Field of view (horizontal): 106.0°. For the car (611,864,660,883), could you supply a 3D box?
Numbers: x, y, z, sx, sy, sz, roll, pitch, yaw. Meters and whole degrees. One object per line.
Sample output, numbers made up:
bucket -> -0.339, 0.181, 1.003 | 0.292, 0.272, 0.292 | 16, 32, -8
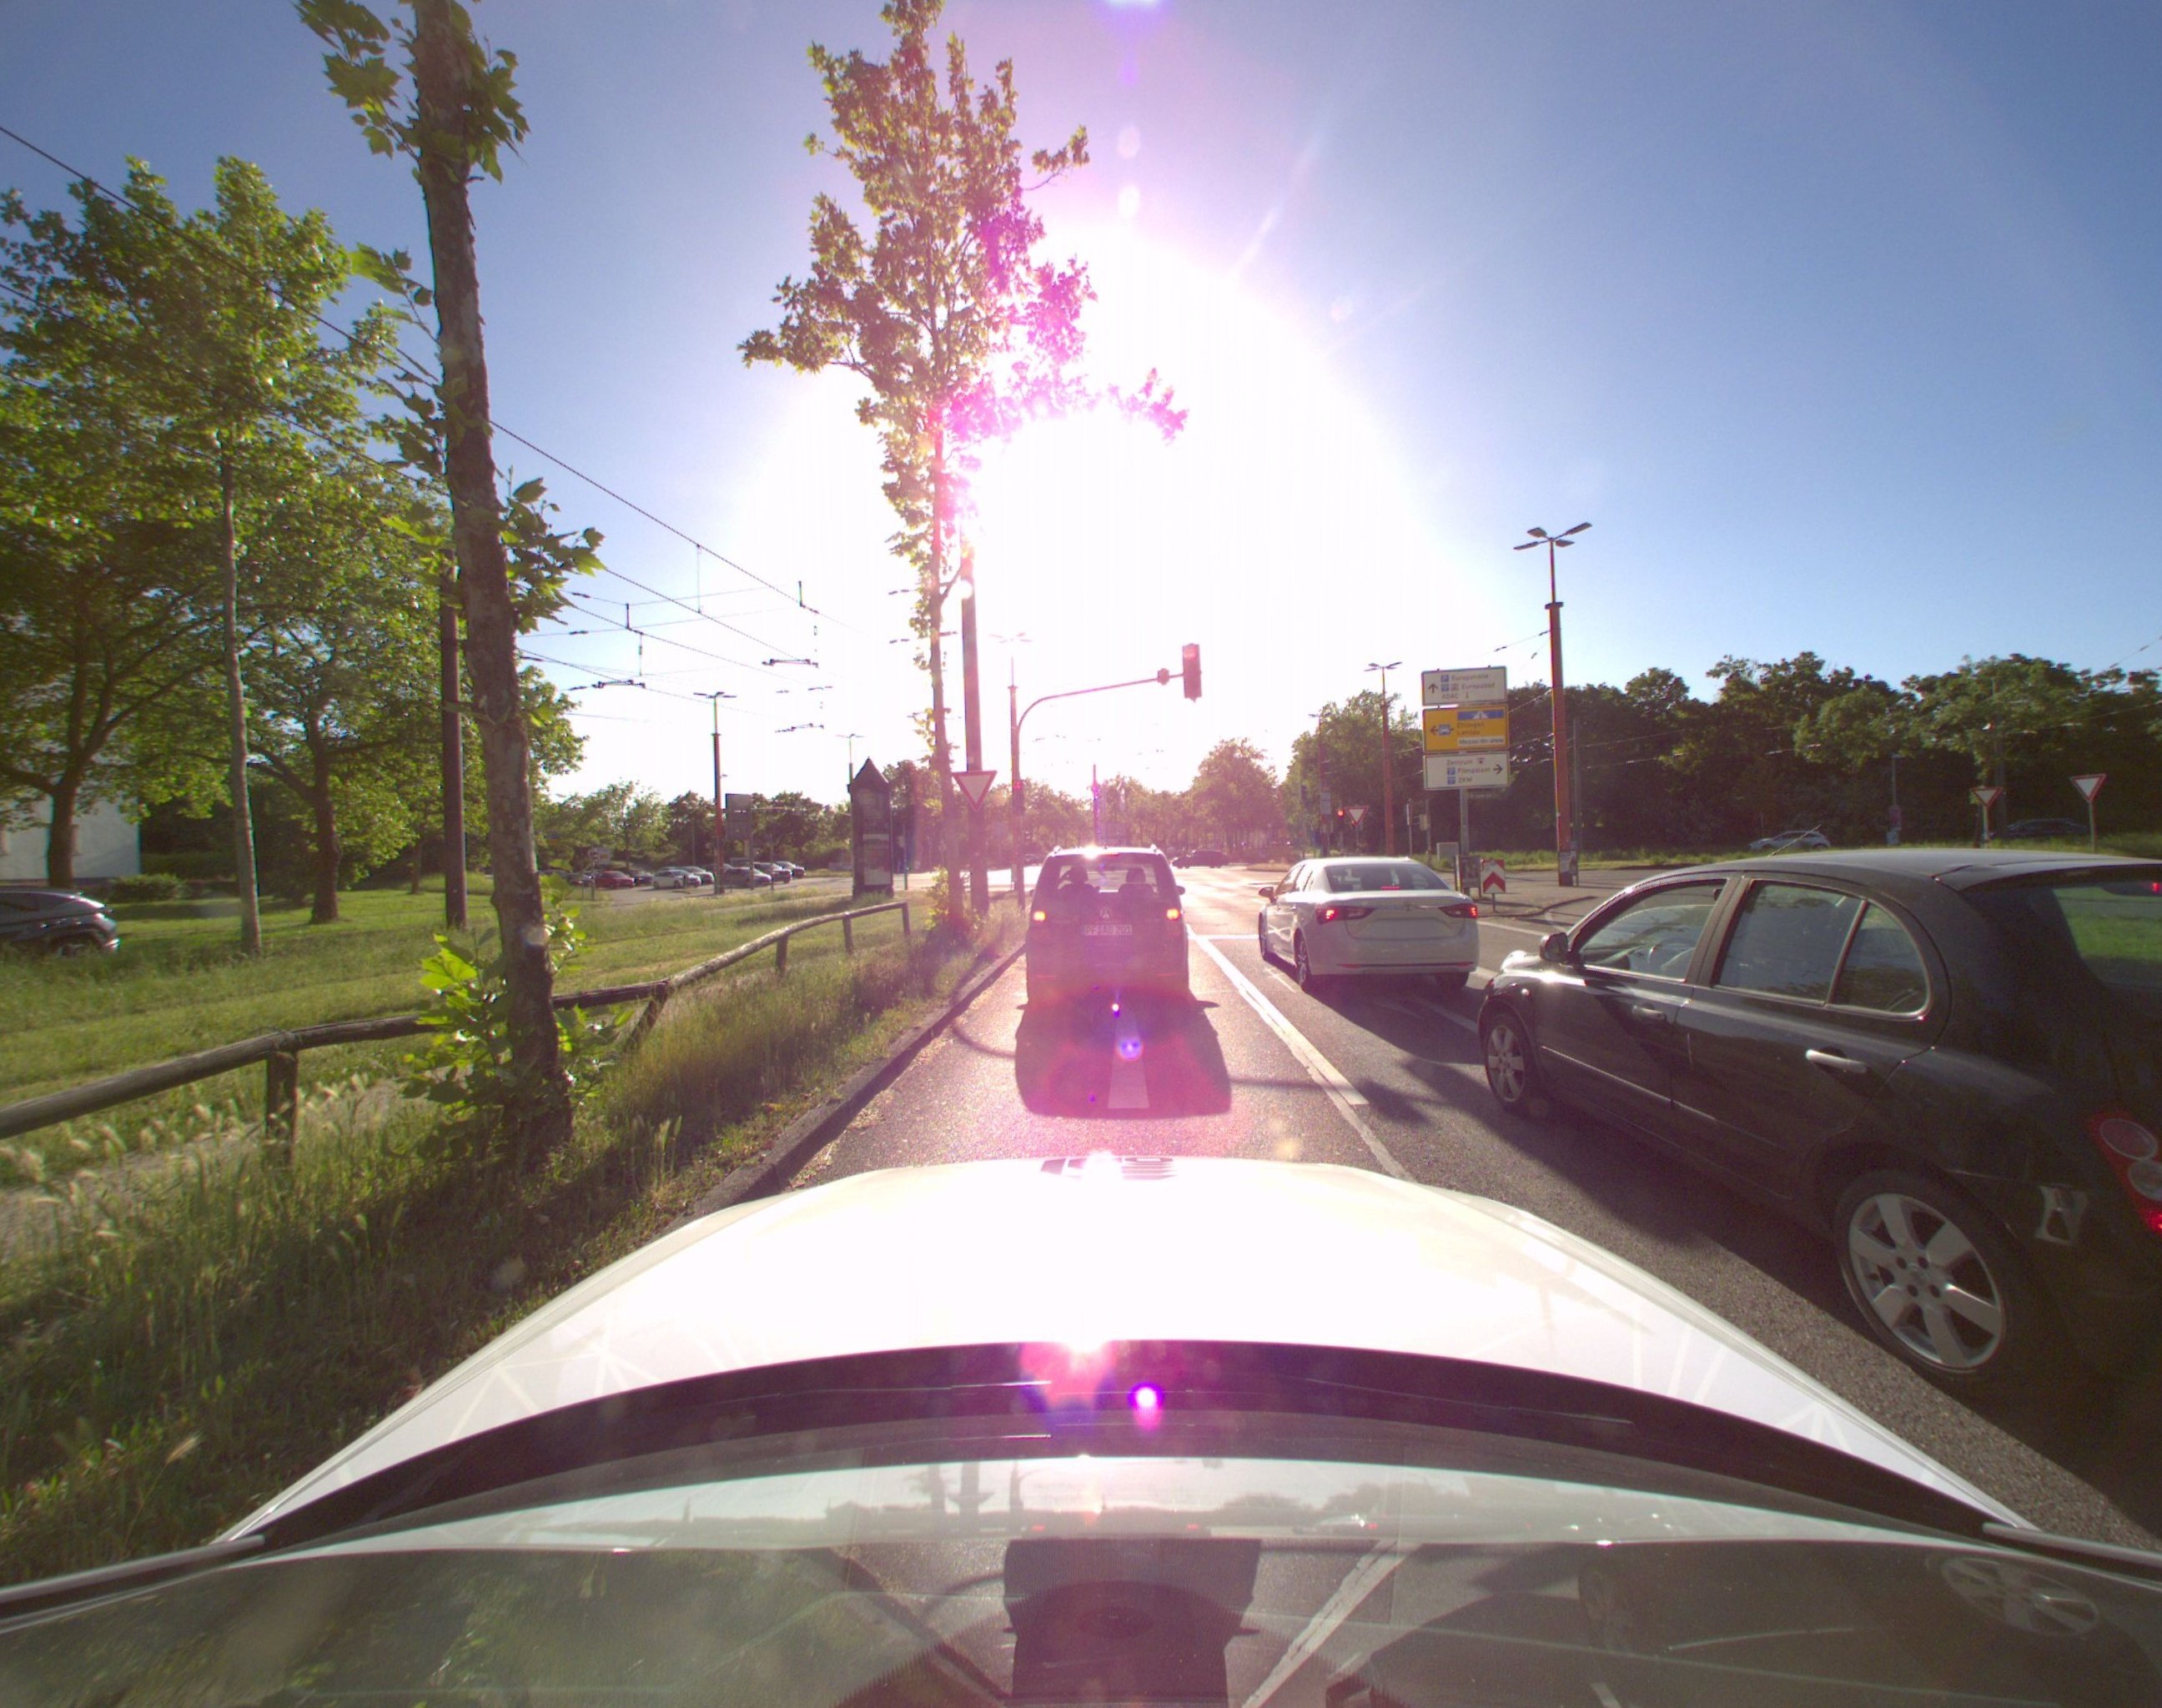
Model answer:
car -> -40.033, 1.720, 73.182 | 4.583, 1.647, 1.767 | -1, 0, 32

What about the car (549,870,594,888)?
car -> -44.961, 2.219, 71.839 | 4.145, 1.520, 1.667 | -1, 0, 32

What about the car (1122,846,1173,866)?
car -> 5.964, 0.178, 72.818 | 4.164, 1.681, 1.667 | -1, 0, 28

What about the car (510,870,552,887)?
car -> -51.057, 2.257, 75.545 | 4.145, 1.520, 1.667 | -1, 0, 32

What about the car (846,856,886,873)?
car -> -23.395, 1.147, 88.746 | 4.081, 1.750, 1.666 | -1, 0, 25

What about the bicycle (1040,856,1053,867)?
bicycle -> -4.631, 0.970, 109.645 | 0.969, 1.388, 2.991 | -2, 0, 15

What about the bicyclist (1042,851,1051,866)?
bicyclist -> -4.631, 0.596, 109.687 | 0.969, 1.904, 1.055 | -2, 0, 14

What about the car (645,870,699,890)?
car -> -32.430, 2.070, 64.597 | 4.577, 1.520, 1.667 | -1, 0, 32

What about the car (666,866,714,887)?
car -> -33.130, 1.882, 68.955 | 4.285, 1.692, 1.667 | -1, 0, 34

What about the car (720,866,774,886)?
car -> -24.636, 1.620, 60.055 | 3.793, 1.441, 1.667 | -1, 0, 29

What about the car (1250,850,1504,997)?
car -> 3.364, 0.708, 10.198 | 1.792, 1.440, 4.329 | 0, 0, 3

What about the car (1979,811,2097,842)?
car -> 51.363, -1.437, 43.826 | 3.755, 1.510, 1.667 | -1, 0, 30

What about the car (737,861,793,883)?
car -> -24.989, 1.439, 64.427 | 4.583, 1.647, 1.667 | -1, 0, 32

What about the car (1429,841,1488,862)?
car -> 27.958, -0.190, 60.318 | 3.878, 1.457, 1.666 | -1, 0, 25

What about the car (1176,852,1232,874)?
car -> 9.991, 0.717, 66.318 | 4.165, 1.681, 1.666 | -1, 0, 25

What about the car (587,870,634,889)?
car -> -39.446, 2.151, 68.264 | 4.145, 1.520, 1.667 | -1, 0, 32

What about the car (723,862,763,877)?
car -> -38.275, 1.716, 92.239 | 4.616, 1.625, 1.667 | -1, 0, 28

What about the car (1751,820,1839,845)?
car -> 44.835, -1.337, 51.243 | 3.877, 1.457, 1.667 | -1, 0, 28

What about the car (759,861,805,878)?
car -> -26.734, 1.382, 72.824 | 4.102, 1.415, 1.553 | -1, 0, 28

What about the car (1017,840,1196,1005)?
car -> 0.357, 0.688, 10.094 | 1.731, 1.602, 4.329 | 0, -1, 3

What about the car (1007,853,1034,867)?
car -> -7.652, 0.724, 103.636 | 1.636, 1.750, 4.156 | -1, 0, 25

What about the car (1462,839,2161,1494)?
car -> 3.170, 0.694, 3.500 | 1.570, 1.440, 3.443 | 0, -1, 2

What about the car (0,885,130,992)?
car -> -18.024, 1.393, 12.517 | 1.645, 1.618, 4.297 | -1, 0, 2
